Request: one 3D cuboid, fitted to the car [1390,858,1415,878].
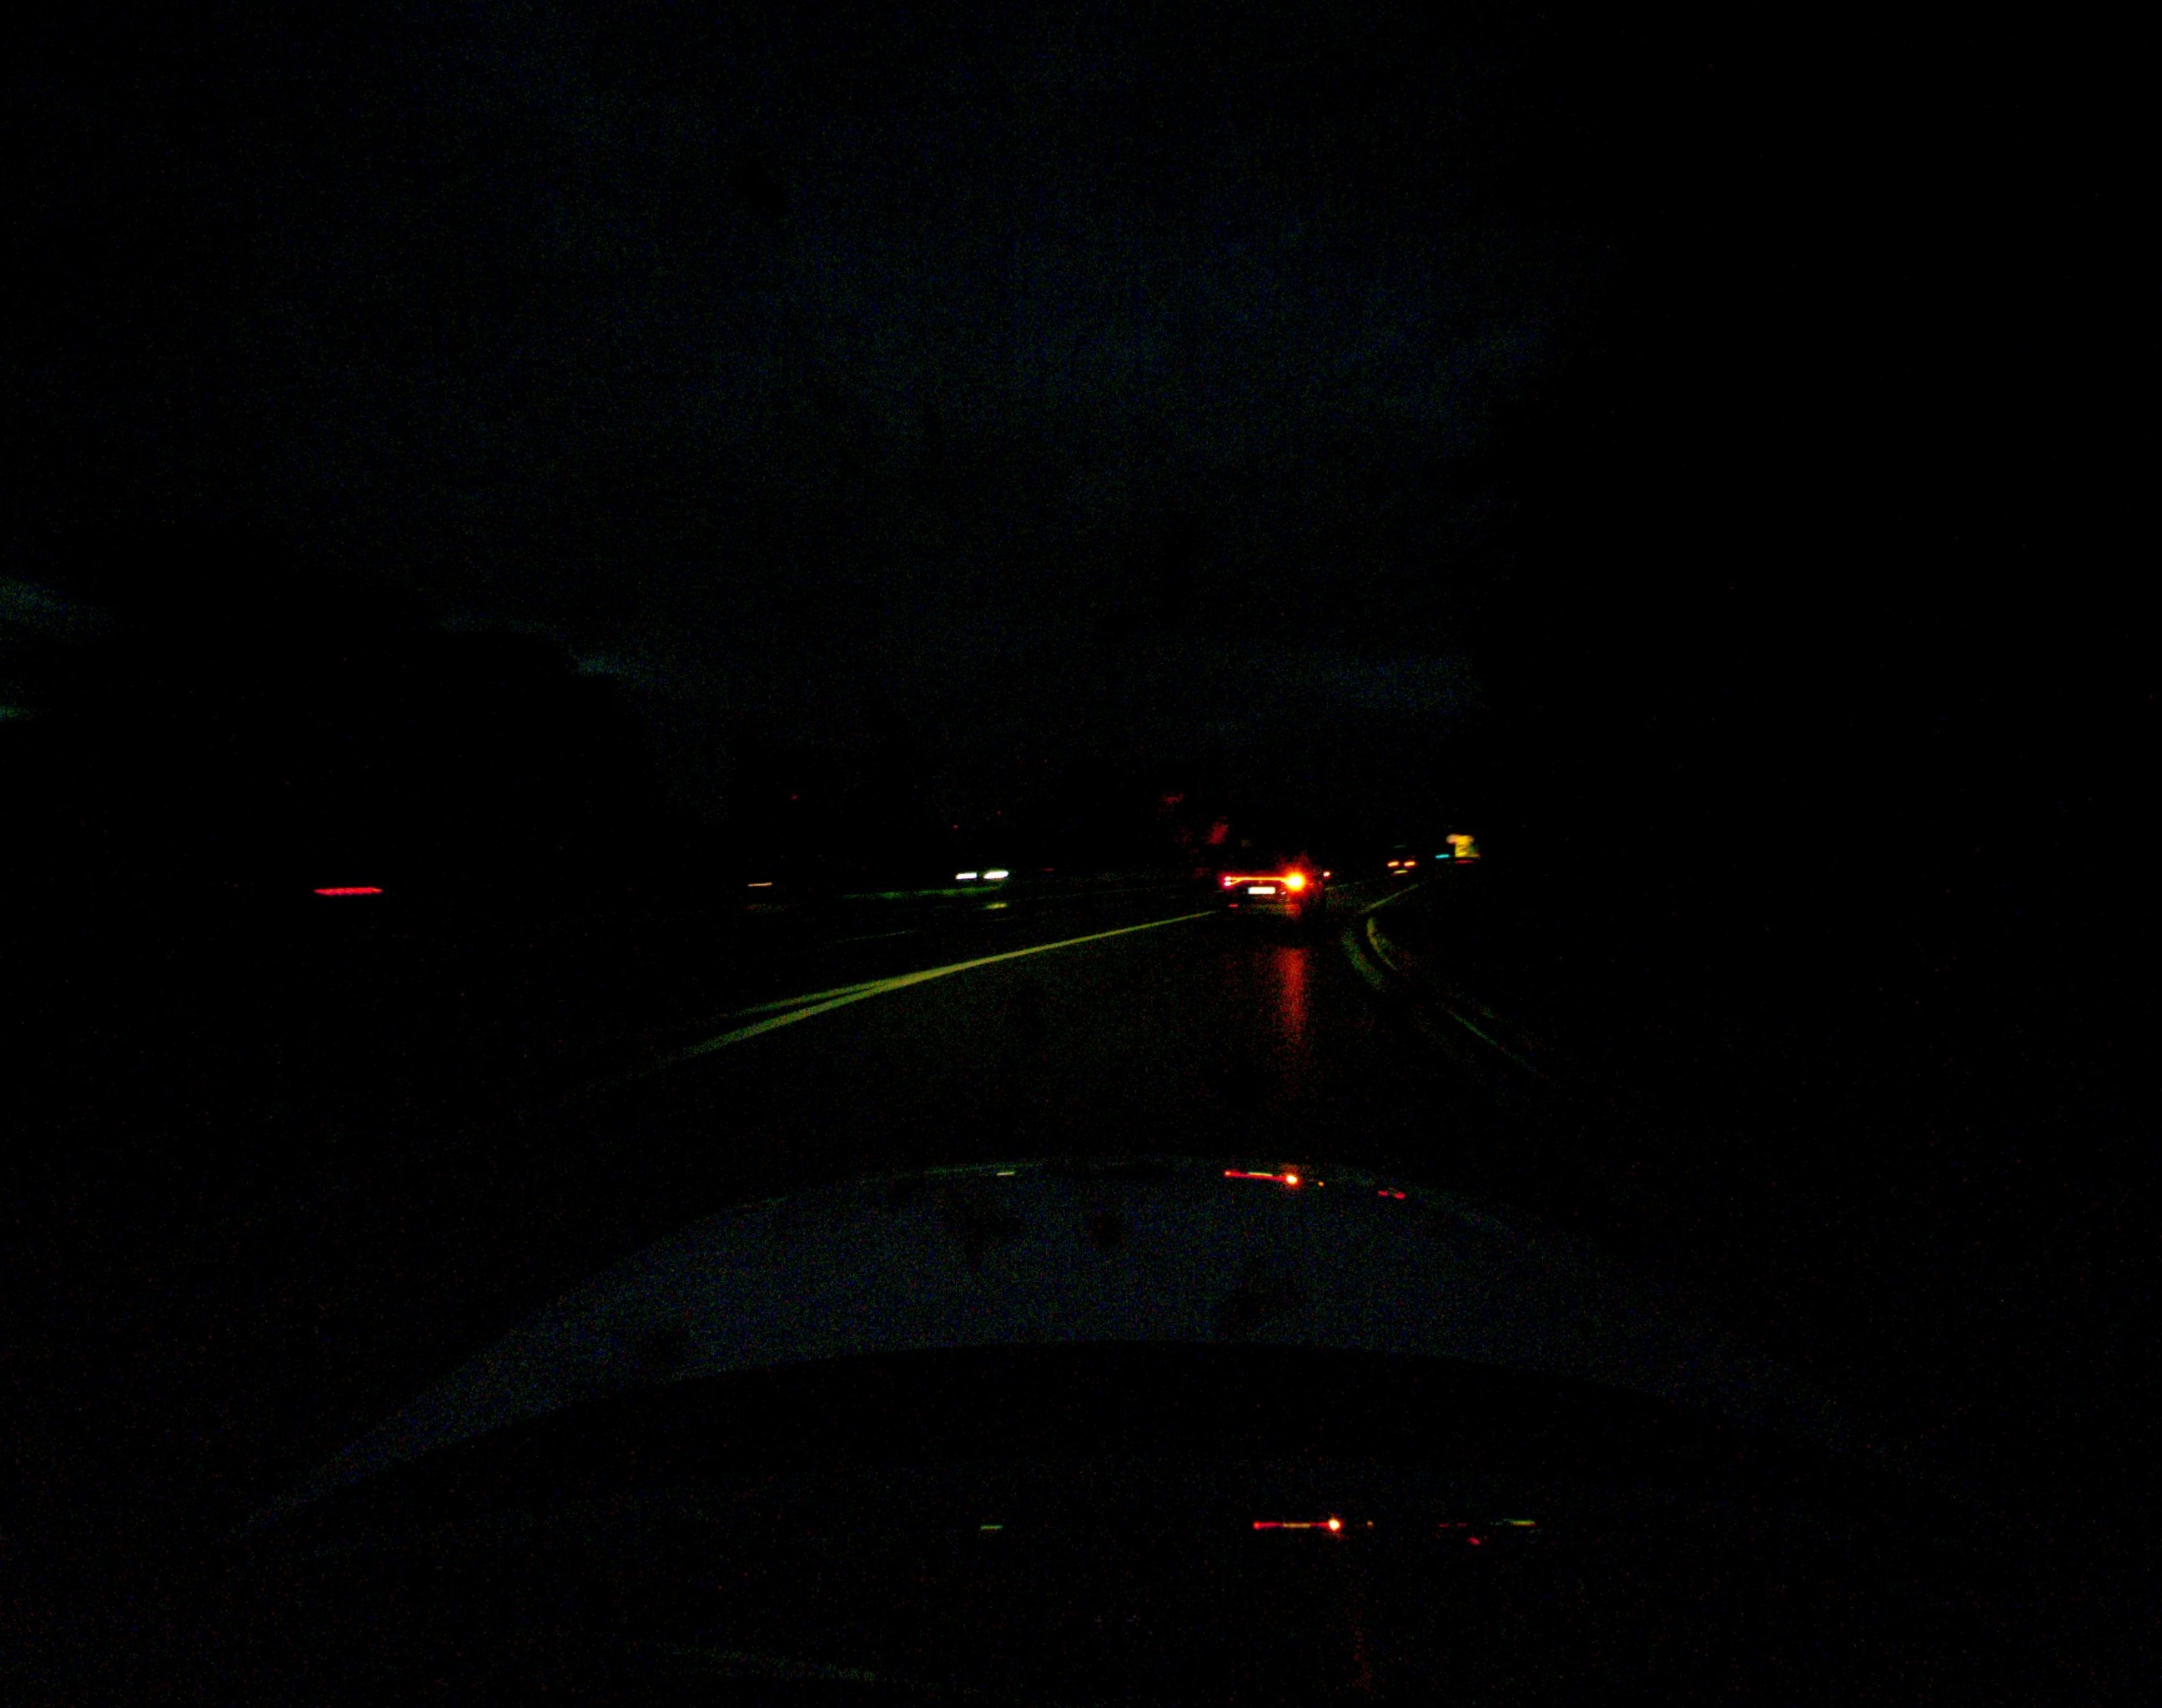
[{"bbox_3d":[24.718,1.063,62.668,1.738,1.453,4.456,0,-1,21],"label":"car"}]

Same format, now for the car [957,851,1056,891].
[{"bbox_3d":[-3.065,0.696,34.839,1.975,1.570,4.850,-2,-1,26],"label":"car"}]

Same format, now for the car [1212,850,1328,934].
[{"bbox_3d":[4.378,0.746,18.309,1.885,1.619,4.580,1,0,21],"label":"car"}]

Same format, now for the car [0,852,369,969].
[{"bbox_3d":[-13.756,0.730,11.582,1.975,1.453,5.076,-2,-1,25],"label":"car"}]

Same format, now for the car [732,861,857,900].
[{"bbox_3d":[-11.460,1.028,32.962,1.975,1.453,4.761,-2,-1,25],"label":"car"}]

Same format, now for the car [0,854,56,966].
[{"bbox_3d":[-17.881,0.829,10.817,1.976,1.682,4.899,-1,-2,23],"label":"car"}]
